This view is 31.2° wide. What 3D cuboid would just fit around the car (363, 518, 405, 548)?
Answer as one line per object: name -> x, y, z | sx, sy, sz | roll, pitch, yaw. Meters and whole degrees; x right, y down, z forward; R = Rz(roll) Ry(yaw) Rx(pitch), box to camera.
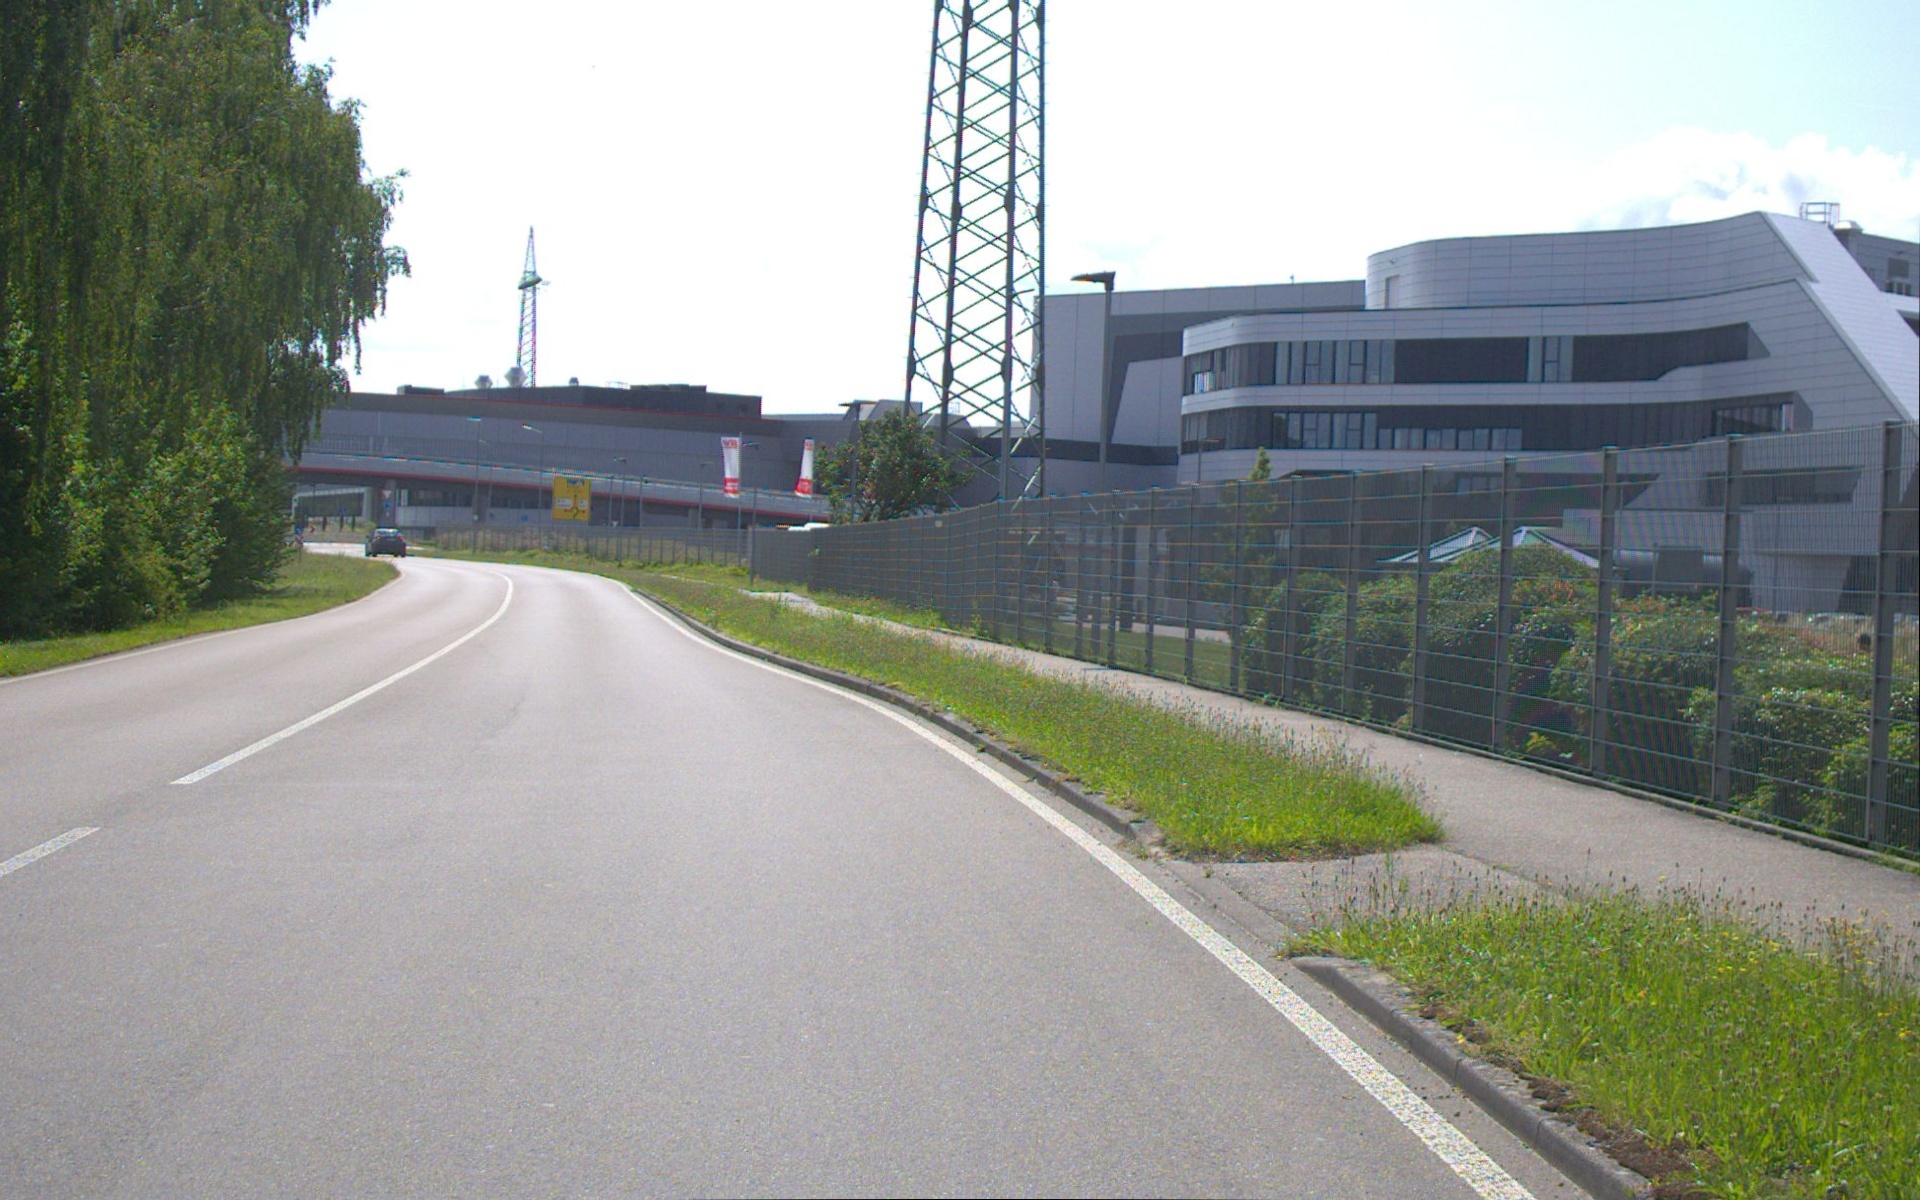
car -> -31.488, -3.696, 187.951 | 2.011, 1.503, 4.001 | 3, 1, -12
